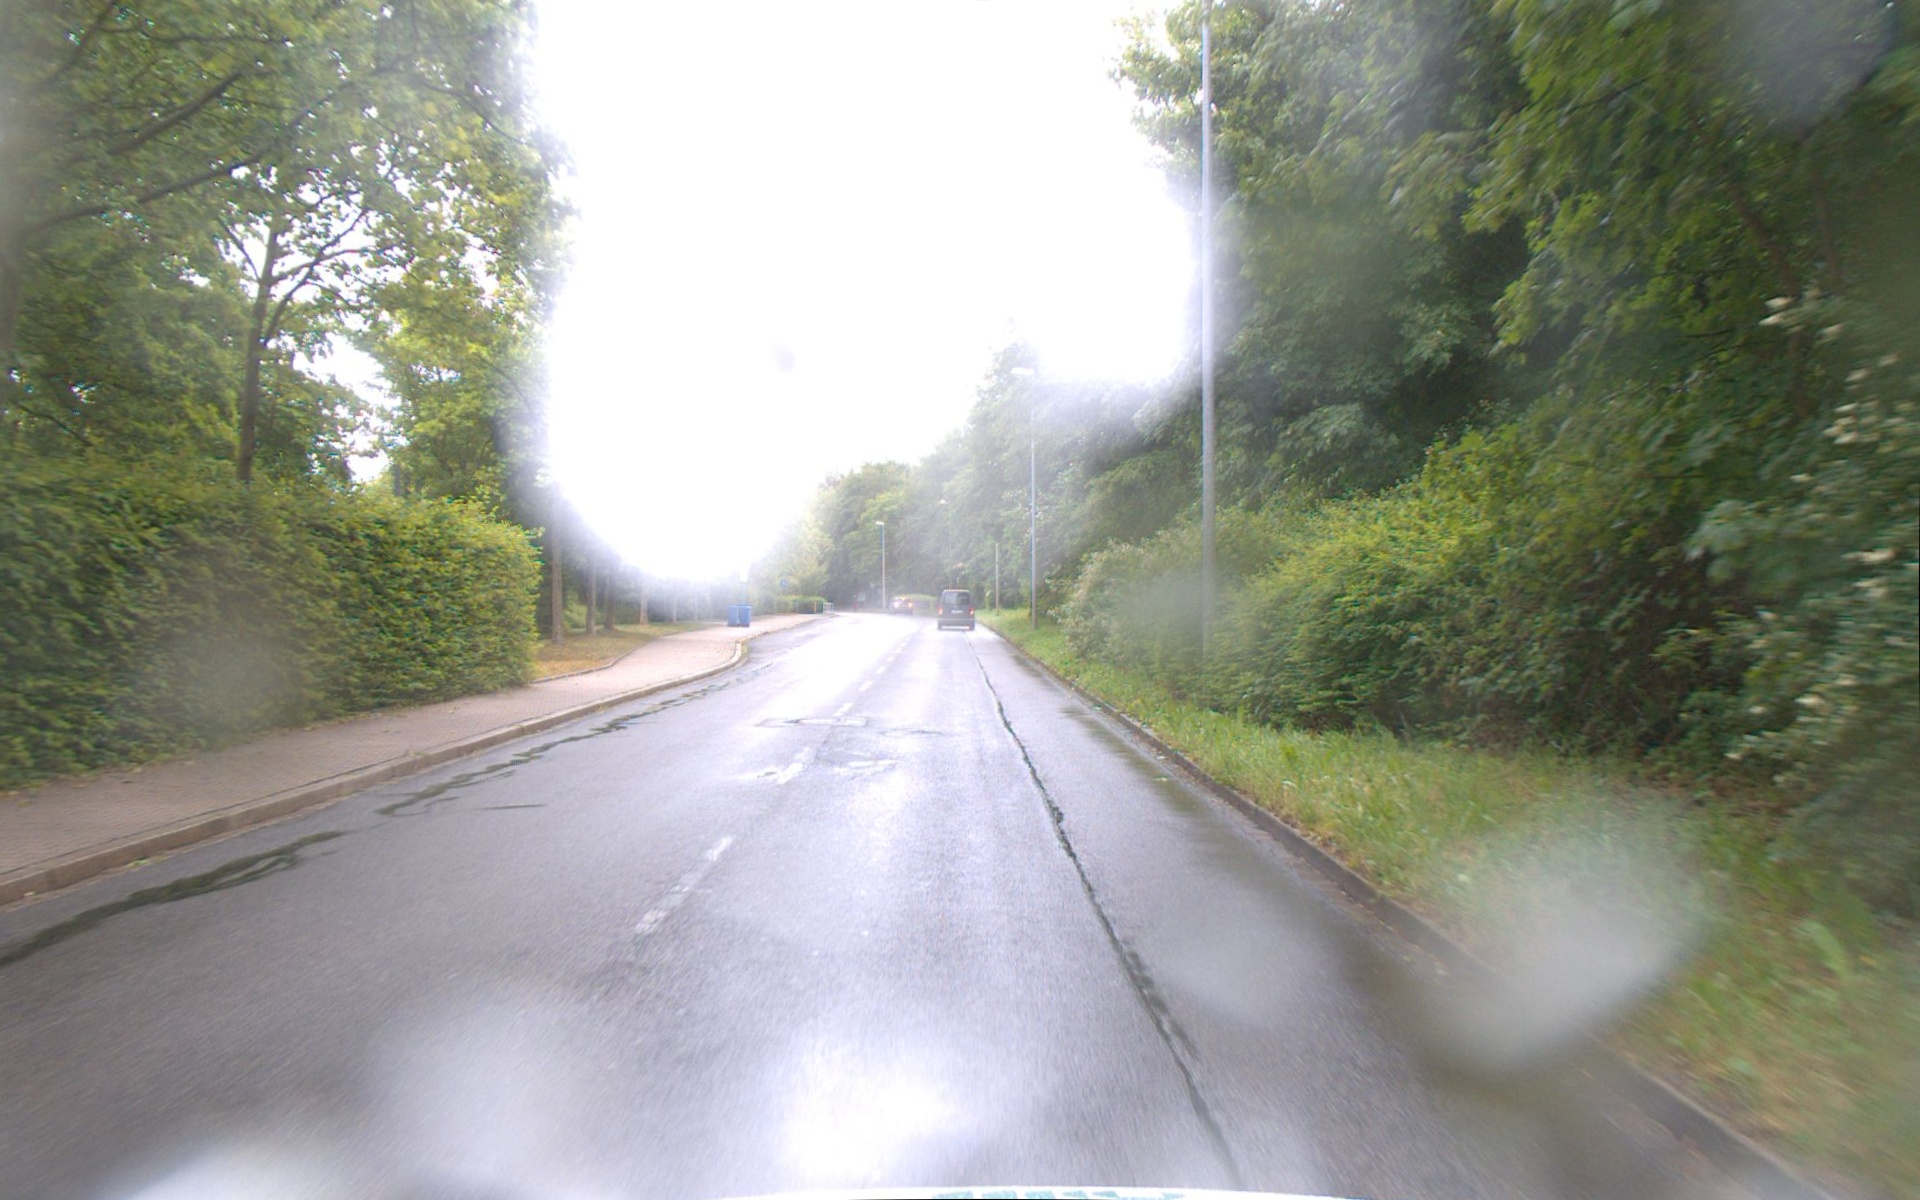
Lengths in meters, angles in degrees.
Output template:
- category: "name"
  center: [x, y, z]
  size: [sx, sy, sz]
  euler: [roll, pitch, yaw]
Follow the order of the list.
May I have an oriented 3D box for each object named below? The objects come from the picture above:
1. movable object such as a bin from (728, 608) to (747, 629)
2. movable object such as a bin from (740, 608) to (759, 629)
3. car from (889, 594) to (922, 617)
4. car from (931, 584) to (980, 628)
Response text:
- category: "movable object such as a bin"
  center: [-11.613, 0.972, 86.169]
  size: [0.660, 1.044, 0.826]
  euler: [-2, 0, -32]
- category: "movable object such as a bin"
  center: [-11.006, 0.956, 86.532]
  size: [0.660, 1.044, 0.826]
  euler: [-2, 0, -32]
- category: "car"
  center: [-4.613, 0.447, 139.478]
  size: [1.961, 1.803, 3.983]
  euler: [-1, 0, -15]
- category: "car"
  center: [-0.237, 0.243, 77.203]
  size: [1.954, 1.824, 3.997]
  euler: [3, 2, -4]
